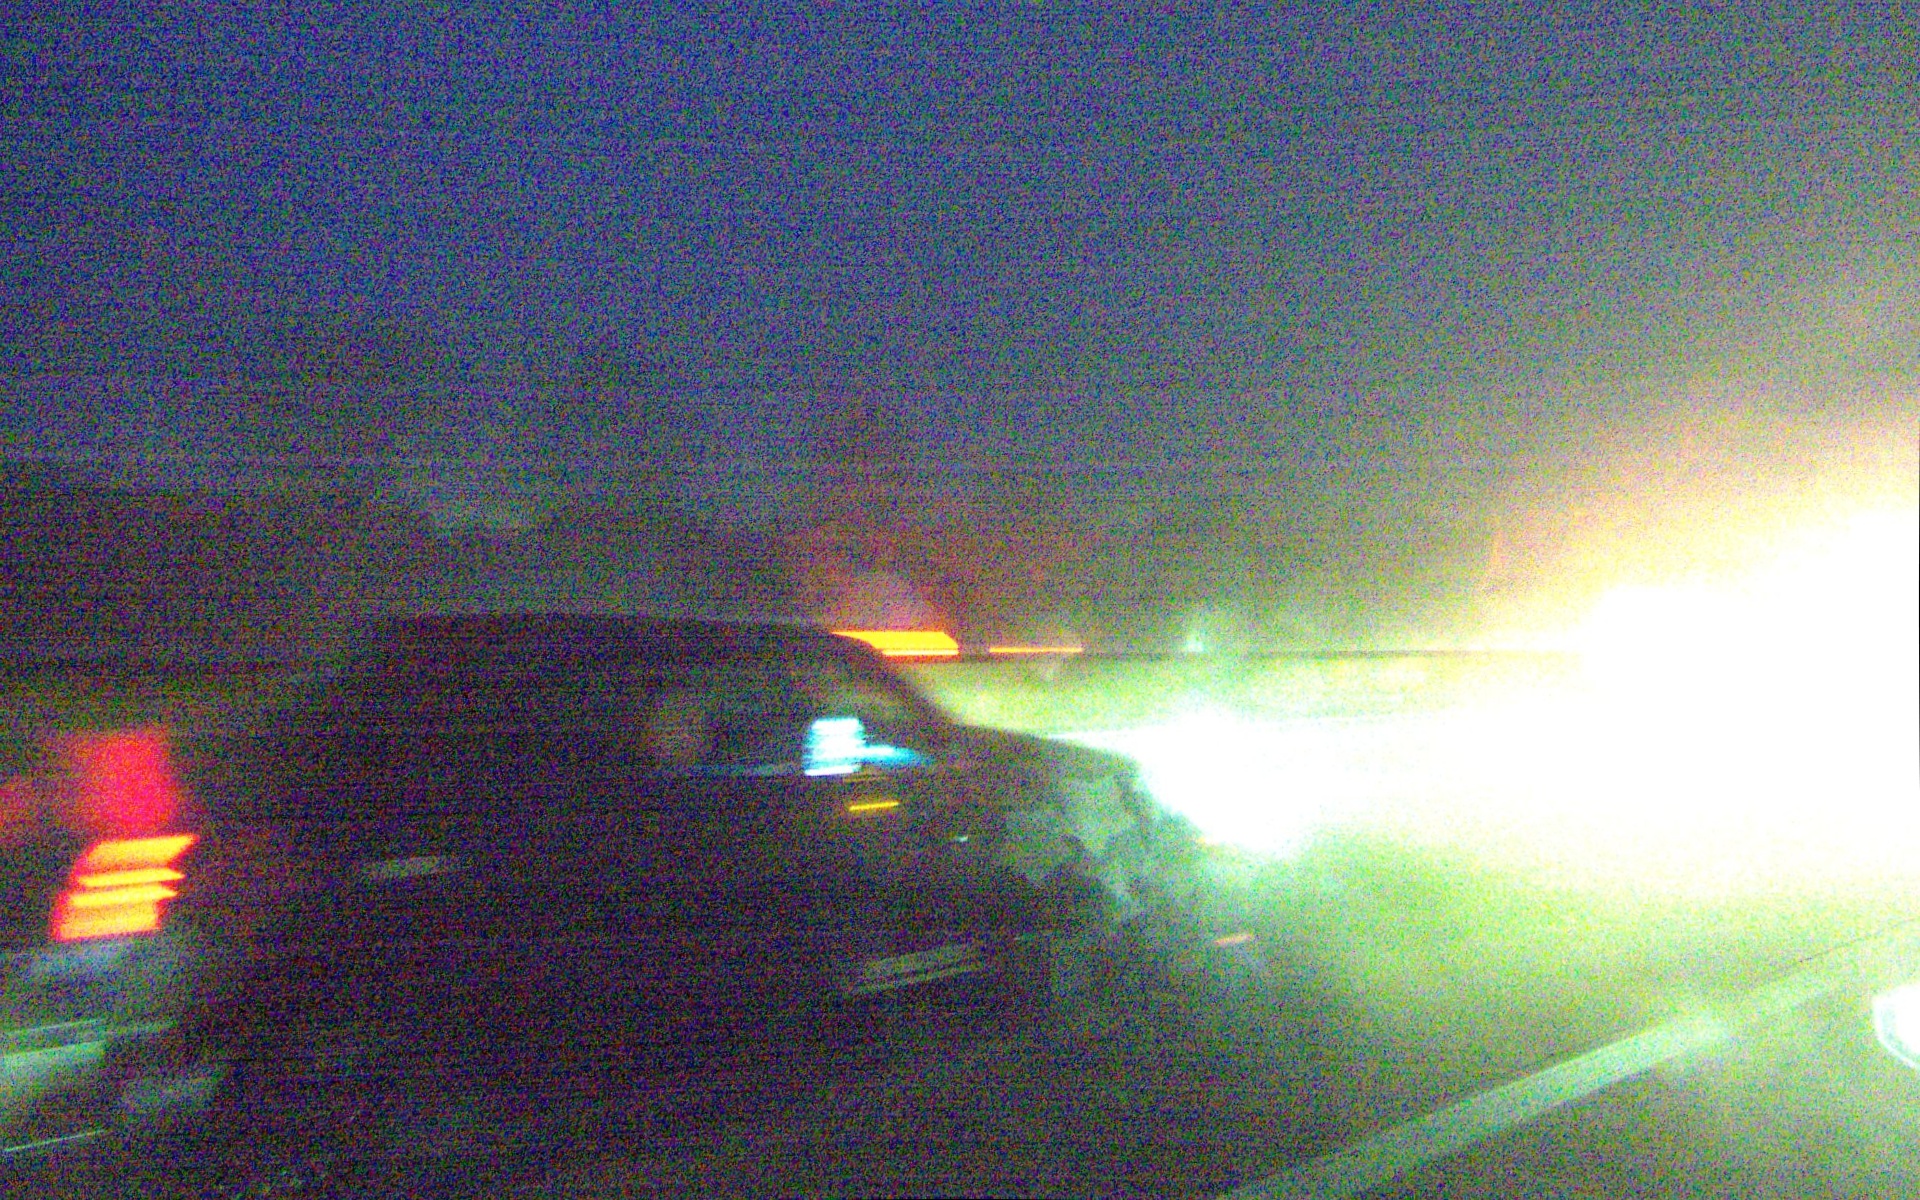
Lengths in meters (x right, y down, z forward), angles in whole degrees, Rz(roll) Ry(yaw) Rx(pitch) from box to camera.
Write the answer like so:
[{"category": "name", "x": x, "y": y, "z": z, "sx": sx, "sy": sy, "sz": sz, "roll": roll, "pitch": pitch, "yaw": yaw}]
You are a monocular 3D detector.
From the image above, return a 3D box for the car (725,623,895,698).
[{"category": "car", "x": -3.759, "y": 1.500, "z": 25.255, "sx": 3.841, "sy": 1.695, "sz": 1.754, "roll": 2, "pitch": 0, "yaw": -30}]

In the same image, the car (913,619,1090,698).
[{"category": "car", "x": 1.004, "y": 1.356, "z": 23.894, "sx": 3.841, "sy": 1.695, "sz": 1.754, "roll": 2, "pitch": 0, "yaw": -30}]

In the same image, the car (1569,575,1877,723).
[{"category": "car", "x": 12.832, "y": 0.761, "z": 16.800, "sx": 5.563, "sy": 2.132, "sz": 2.113, "roll": 2, "pitch": 0, "yaw": -30}]

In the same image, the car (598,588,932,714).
[{"category": "car", "x": -3.187, "y": 0.802, "z": 16.807, "sx": 5.105, "sy": 1.831, "sz": 1.984, "roll": 2, "pitch": 0, "yaw": -30}]

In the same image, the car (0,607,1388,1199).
[{"category": "car", "x": -0.506, "y": 0.792, "z": 3.679, "sx": 4.196, "sy": 1.450, "sz": 1.648, "roll": 1, "pitch": 0, "yaw": -30}]
